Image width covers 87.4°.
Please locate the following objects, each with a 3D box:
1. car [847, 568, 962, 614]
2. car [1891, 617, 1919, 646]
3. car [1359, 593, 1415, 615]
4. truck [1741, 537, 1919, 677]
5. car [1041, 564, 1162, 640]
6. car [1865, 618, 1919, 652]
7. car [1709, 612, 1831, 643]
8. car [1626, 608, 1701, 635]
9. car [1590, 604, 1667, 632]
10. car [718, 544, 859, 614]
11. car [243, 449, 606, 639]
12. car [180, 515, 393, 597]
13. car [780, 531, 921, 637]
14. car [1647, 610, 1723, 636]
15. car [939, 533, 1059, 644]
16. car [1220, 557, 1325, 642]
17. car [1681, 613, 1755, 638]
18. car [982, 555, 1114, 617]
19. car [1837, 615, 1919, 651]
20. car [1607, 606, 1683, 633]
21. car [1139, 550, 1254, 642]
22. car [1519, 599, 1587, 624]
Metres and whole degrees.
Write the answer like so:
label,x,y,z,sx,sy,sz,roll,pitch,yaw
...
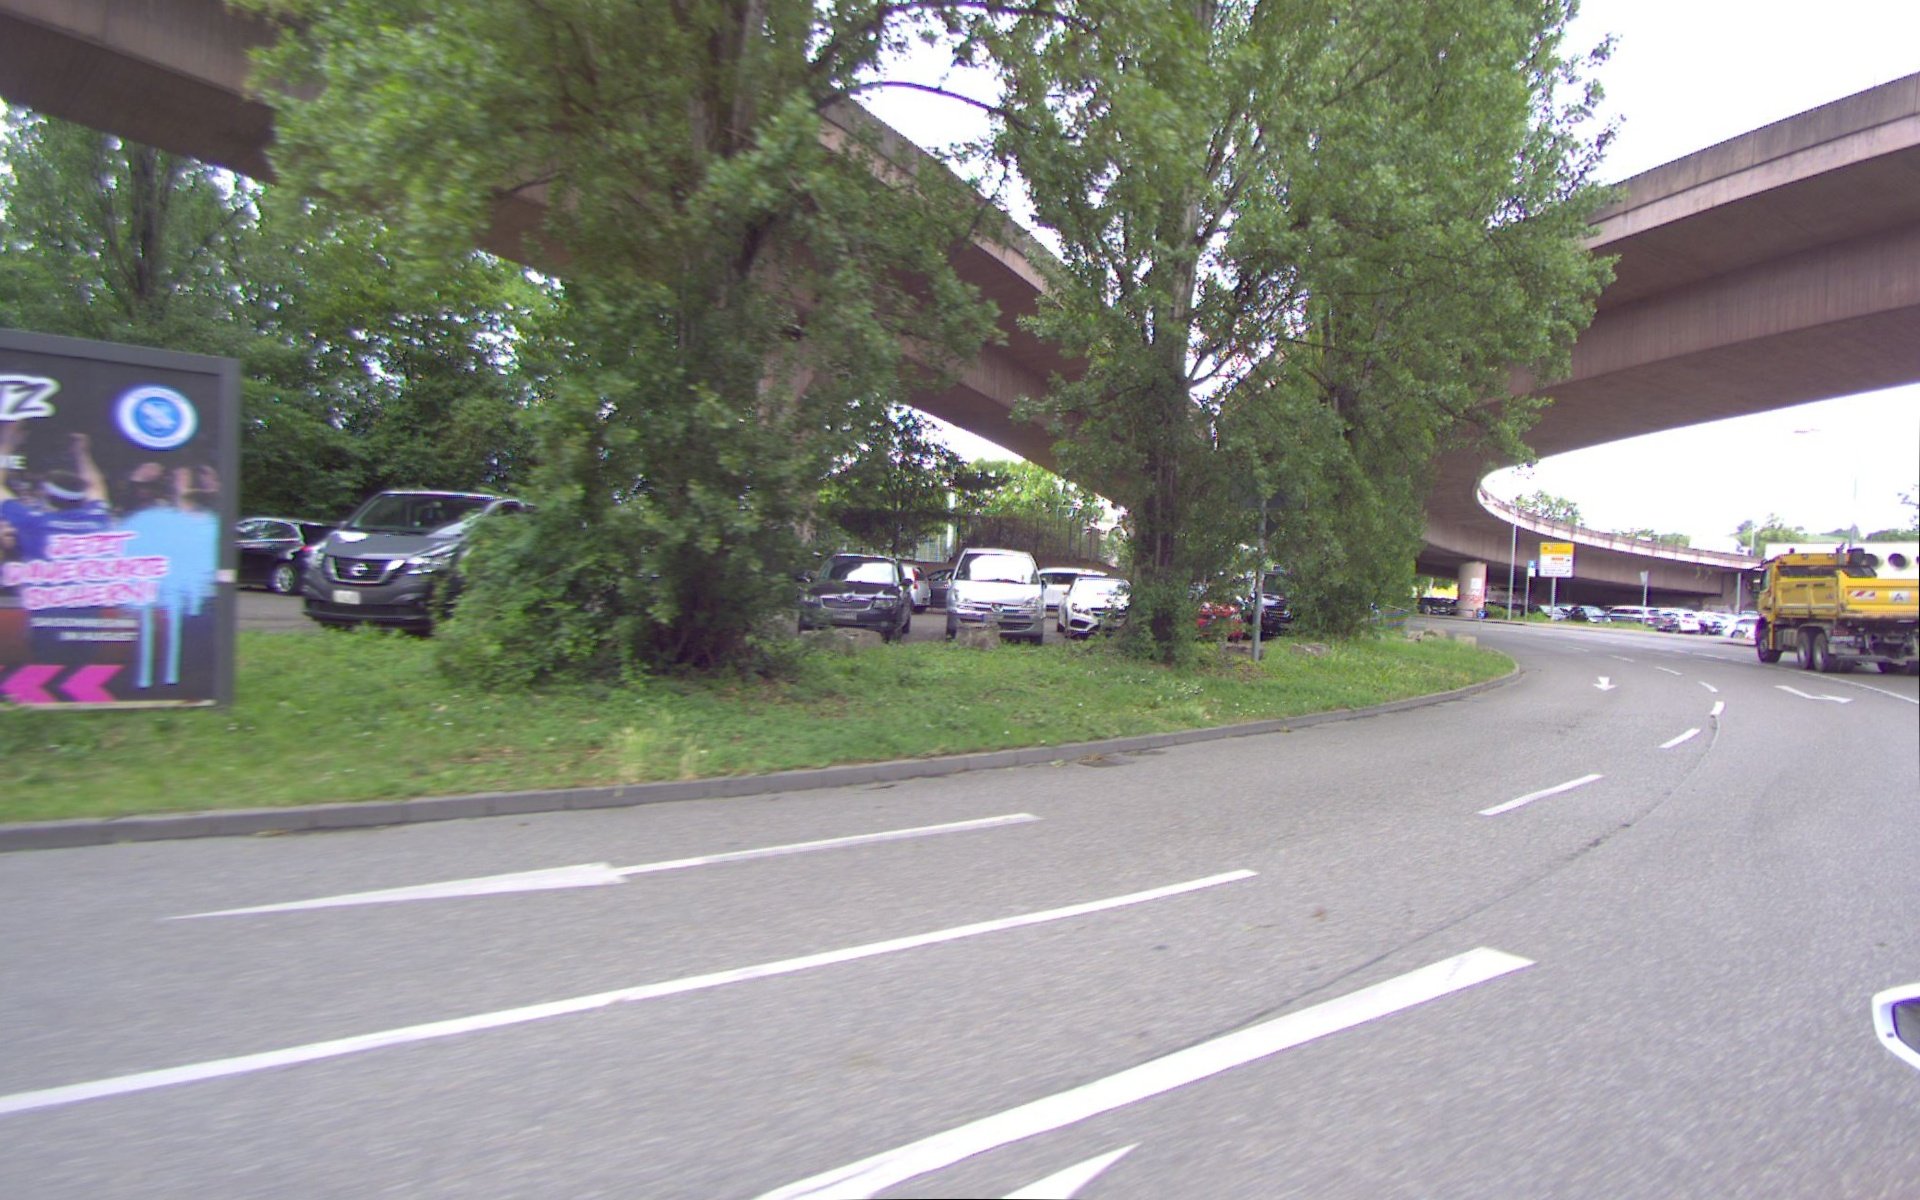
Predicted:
label,x,y,z,sx,sy,sz,roll,pitch,yaw
car,-1.749,-0.288,32.486,3.615,1.373,1.662,1,0,0
car,51.370,1.720,52.171,1.972,1.461,3.977,3,-1,-24
car,34.165,0.313,80.487,1.865,1.654,3.930,3,-1,-24
truck,25.705,0.231,29.289,2.881,3.528,8.237,0,-1,25
car,3.096,0.070,23.008,2.080,1.462,4.792,3,-1,0
car,48.850,1.813,50.886,1.973,1.661,3.975,3,-1,-25
car,44.210,1.465,54.947,1.972,1.461,4.808,3,-1,-23
car,48.397,1.452,69.173,1.752,1.654,3.860,3,-1,-24
car,44.132,1.189,66.379,1.753,1.654,3.858,3,-1,-25
car,-4.945,-0.652,28.981,3.617,1.691,1.680,5,4,23
car,-7.253,-0.674,14.443,2.215,2.099,5.107,4,0,2
car,-14.097,-0.922,21.048,3.812,1.494,1.794,3,0,21
car,-1.841,-0.186,18.264,1.960,1.573,4.373,1,-3,1
car,50.407,1.568,69.907,1.752,1.654,3.860,3,-1,-24
car,0.667,-0.170,19.385,1.976,1.814,4.401,3,-1,0
car,8.338,-0.028,27.135,1.959,2.040,4.002,3,1,7
car,54.487,1.815,72.282,1.752,1.654,3.860,3,-1,-24
car,2.973,-0.443,34.608,4.362,1.807,2.001,-3,-3,1
car,46.362,1.650,49.795,1.667,1.661,3.975,3,-1,-24
car,46.260,1.322,67.883,1.752,1.654,3.860,3,-1,-24
car,5.842,-0.127,25.359,1.960,2.040,4.451,3,1,3
car,42.231,0.796,71.647,1.752,1.654,3.860,3,-1,-24
